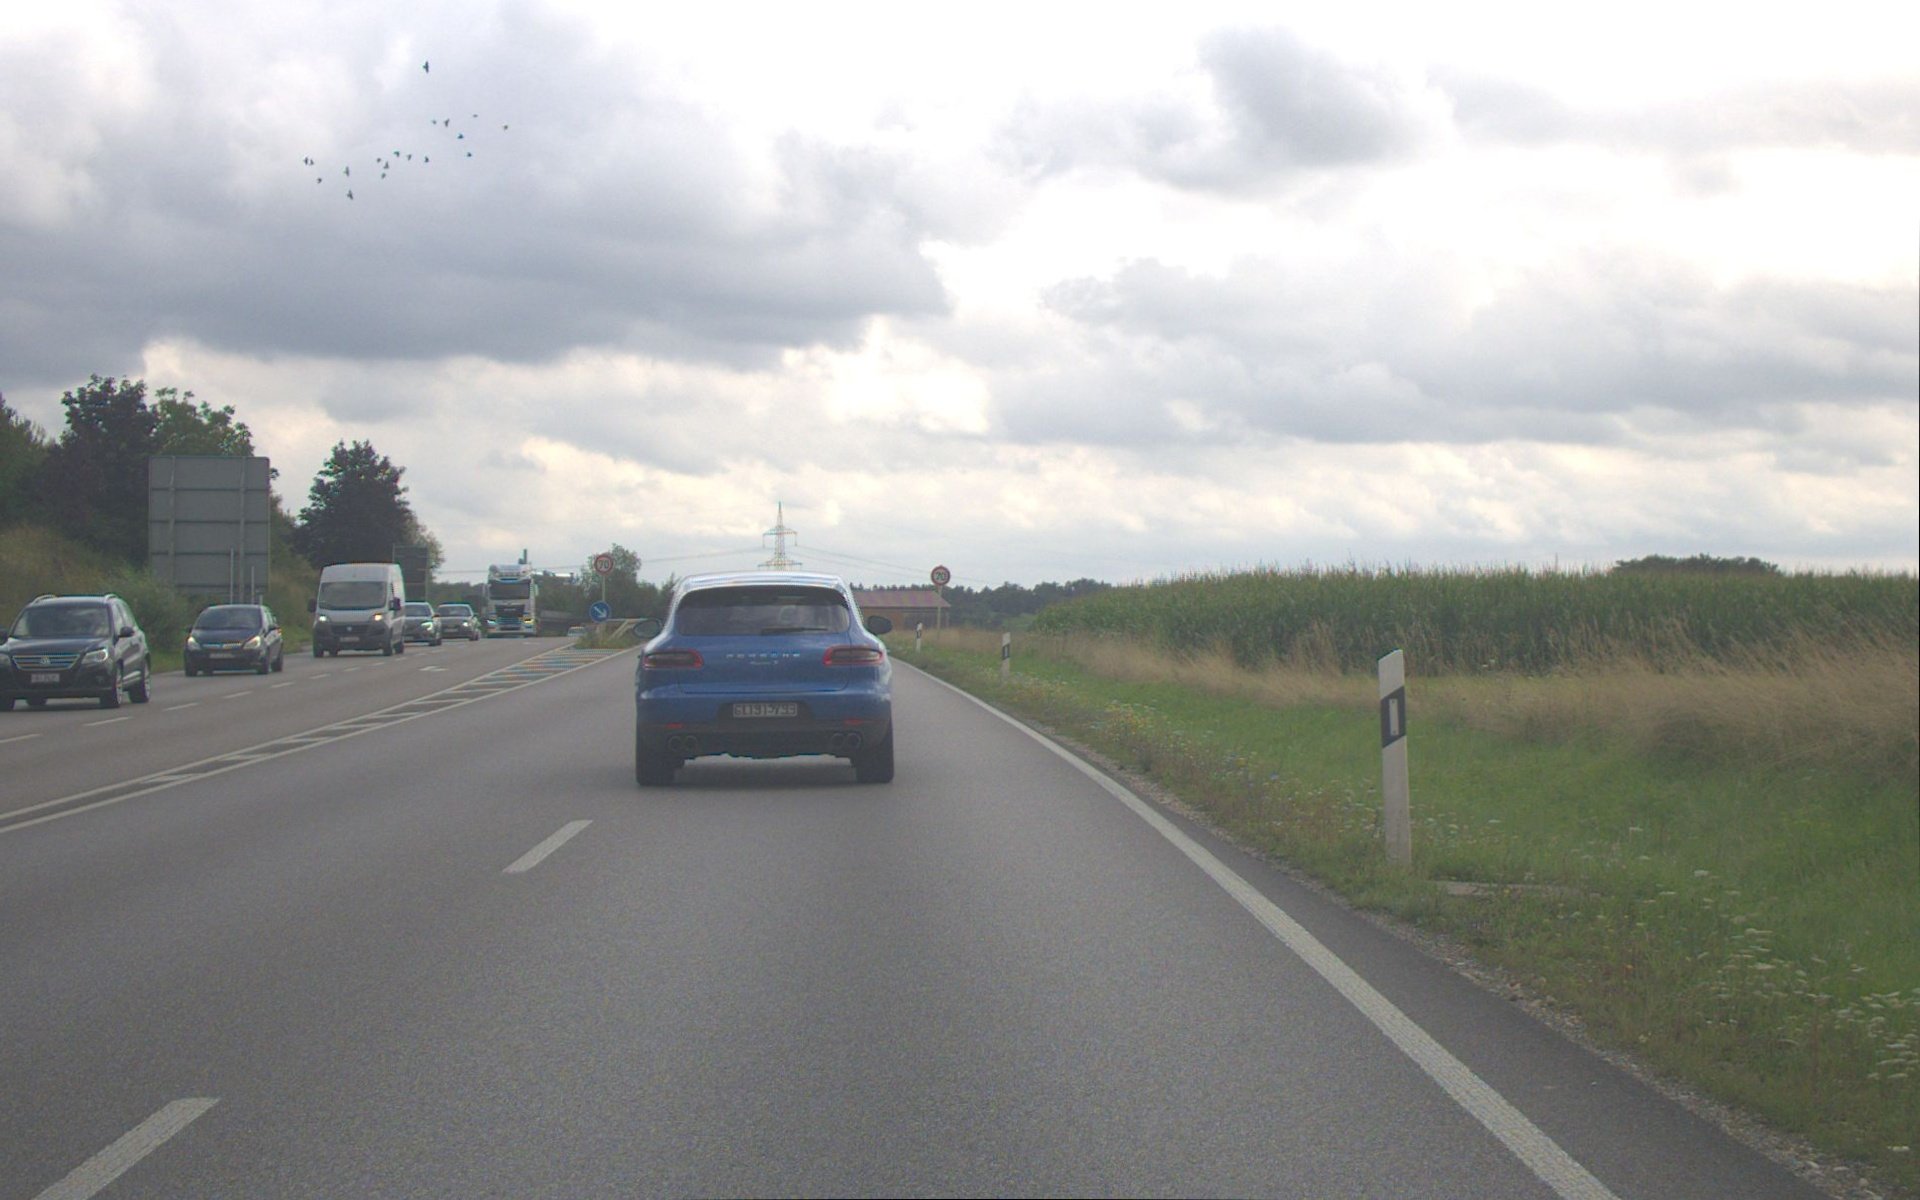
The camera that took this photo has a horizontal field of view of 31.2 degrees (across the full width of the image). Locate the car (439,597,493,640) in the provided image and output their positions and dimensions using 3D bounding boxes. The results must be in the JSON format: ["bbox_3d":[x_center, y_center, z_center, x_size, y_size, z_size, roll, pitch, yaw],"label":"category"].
[{"bbox_3d":[-18.764,0.686,130.760,1.732,1.525,4.194,-1,1,-4],"label":"car"}]

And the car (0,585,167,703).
[{"bbox_3d":[-13.291,0.631,51.667,1.794,1.628,4.516,-2,1,-2],"label":"car"}]

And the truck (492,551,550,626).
[{"bbox_3d":[-23.773,-0.648,186.306,2.802,3.984,5.287,1,0,-4],"label":"truck"}]

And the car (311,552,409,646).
[{"bbox_3d":[-16.172,-0.055,92.847,2.033,2.431,5.636,-1,1,-4],"label":"car"}]

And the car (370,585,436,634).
[{"bbox_3d":[-18.307,0.303,113.147,1.732,1.525,4.549,-1,1,-4],"label":"car"}]

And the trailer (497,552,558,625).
[{"bbox_3d":[-24.324,-0.695,193.673,2.774,3.933,12.987,1,1,-5],"label":"trailer"}]

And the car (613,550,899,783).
[{"bbox_3d":[-1.629,0.479,26.854,2.033,1.655,4.544,0,0,-4],"label":"car"}]

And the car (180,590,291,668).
[{"bbox_3d":[-15.210,0.587,72.364,1.732,1.525,4.194,-1,1,-4],"label":"car"}]
